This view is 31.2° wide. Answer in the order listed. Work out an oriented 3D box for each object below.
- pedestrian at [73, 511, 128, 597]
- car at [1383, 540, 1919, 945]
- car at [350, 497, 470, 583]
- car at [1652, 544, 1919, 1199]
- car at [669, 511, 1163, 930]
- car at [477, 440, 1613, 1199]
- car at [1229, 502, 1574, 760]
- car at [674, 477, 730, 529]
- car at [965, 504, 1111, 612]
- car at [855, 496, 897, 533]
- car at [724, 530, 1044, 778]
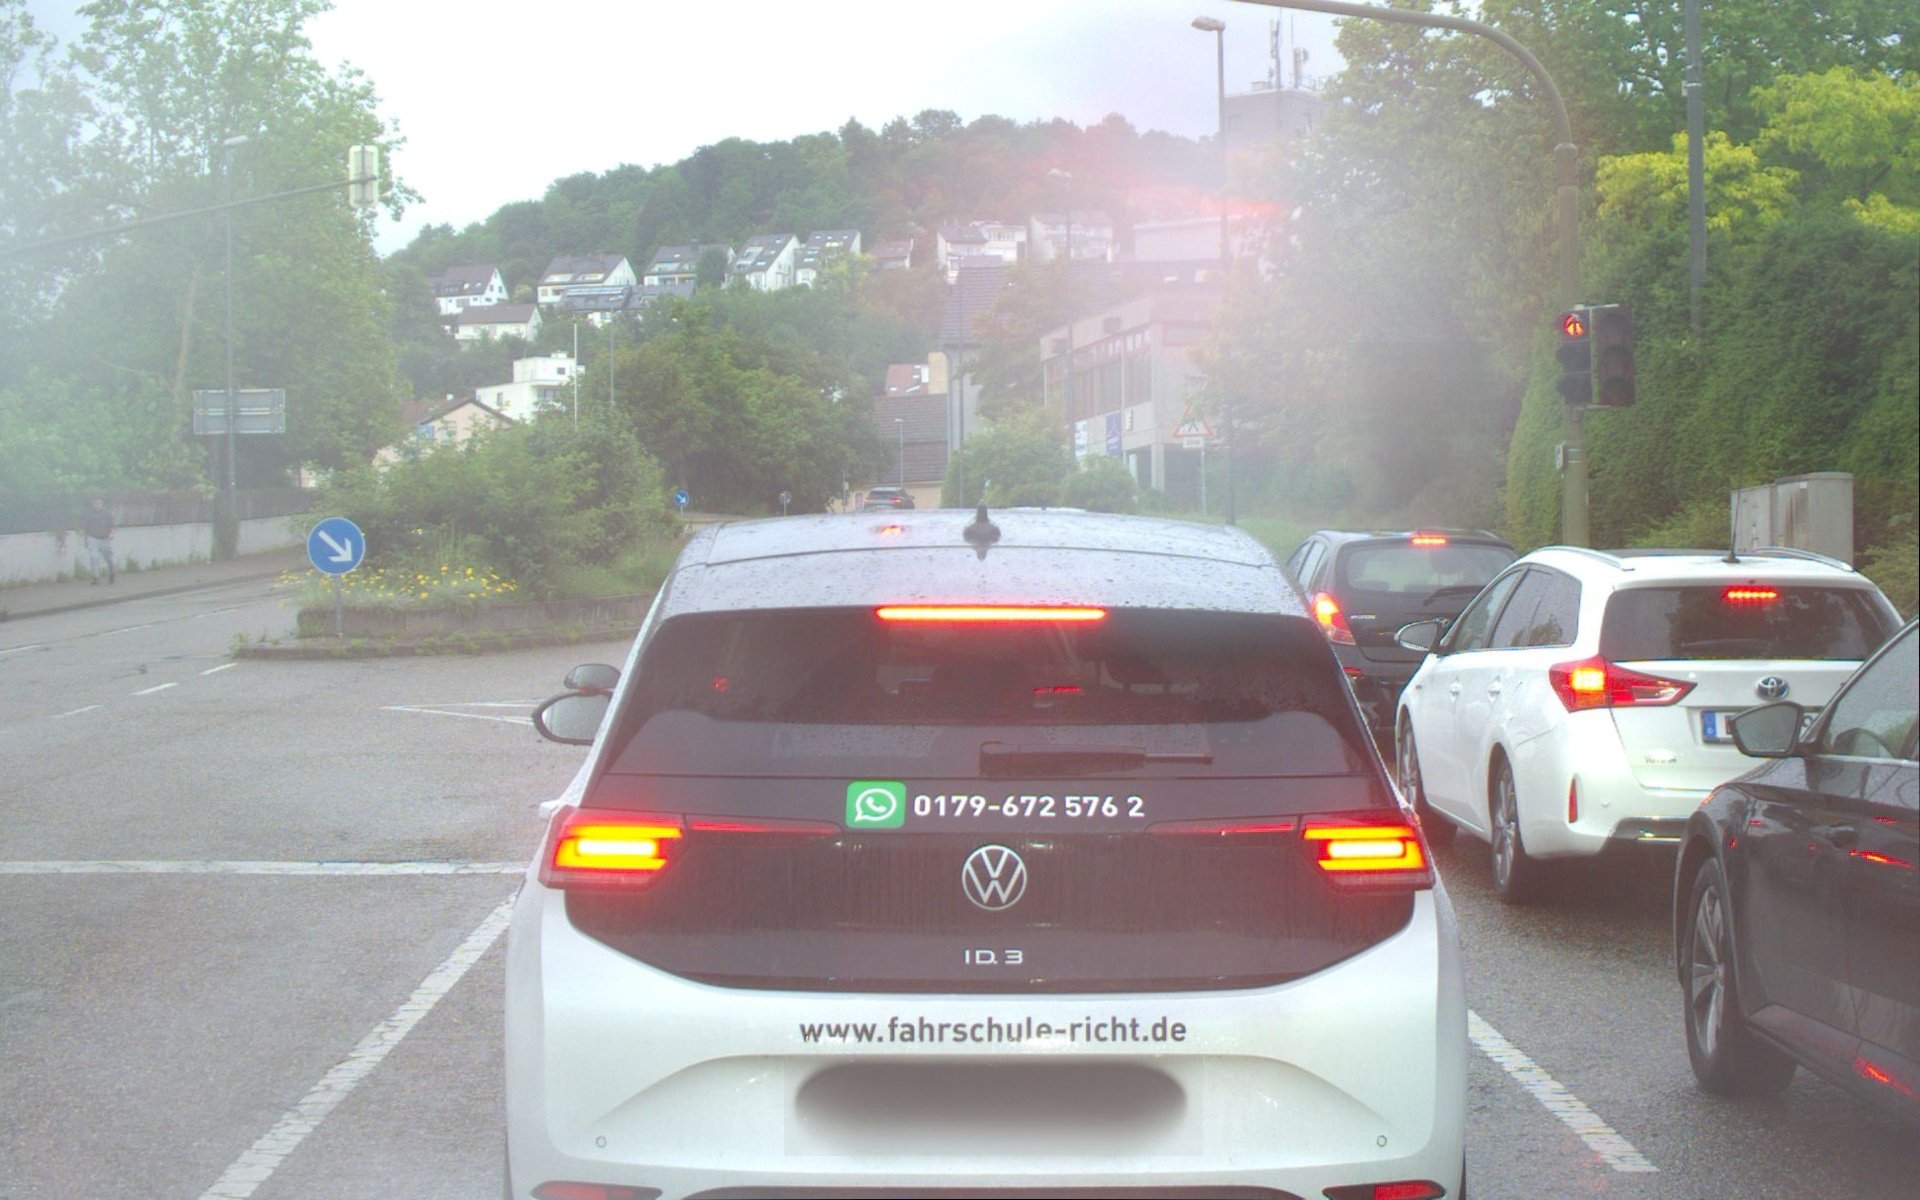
[{"bbox_3d":[-16.101,-0.859,64.399,0.760,1.562,0.825,-2,1,-1],"label":"pedestrian"},{"bbox_3d":[3.072,0.503,14.946,1.837,1.461,4.117,1,1,-1],"label":"car"},{"bbox_3d":[-12.318,-1.344,77.278,1.993,1.798,4.000,-3,1,0],"label":"car"},{"bbox_3d":[2.849,0.646,7.467,1.838,1.461,4.350,1,1,1],"label":"car"},{"bbox_3d":[-0.209,0.407,15.119,1.837,1.549,4.175,1,1,-1],"label":"car"},{"bbox_3d":[0.089,0.514,7.950,1.837,1.623,4.616,1,1,-1],"label":"car"},{"bbox_3d":[2.904,0.167,23.394,1.775,1.576,4.000,1,1,0],"label":"car"},{"bbox_3d":[-10.482,-3.932,140.088,1.993,2.007,4.000,1,0,0],"label":"car"},{"bbox_3d":[1.051,-0.615,48.003,1.761,1.413,3.749,-1,2,-3],"label":"car"},{"bbox_3d":[-3.776,-3.844,154.811,1.775,1.576,4.000,-2,1,0],"label":"car"},{"bbox_3d":[-0.485,0.277,21.970,1.837,1.395,3.831,1,1,-1],"label":"car"}]
